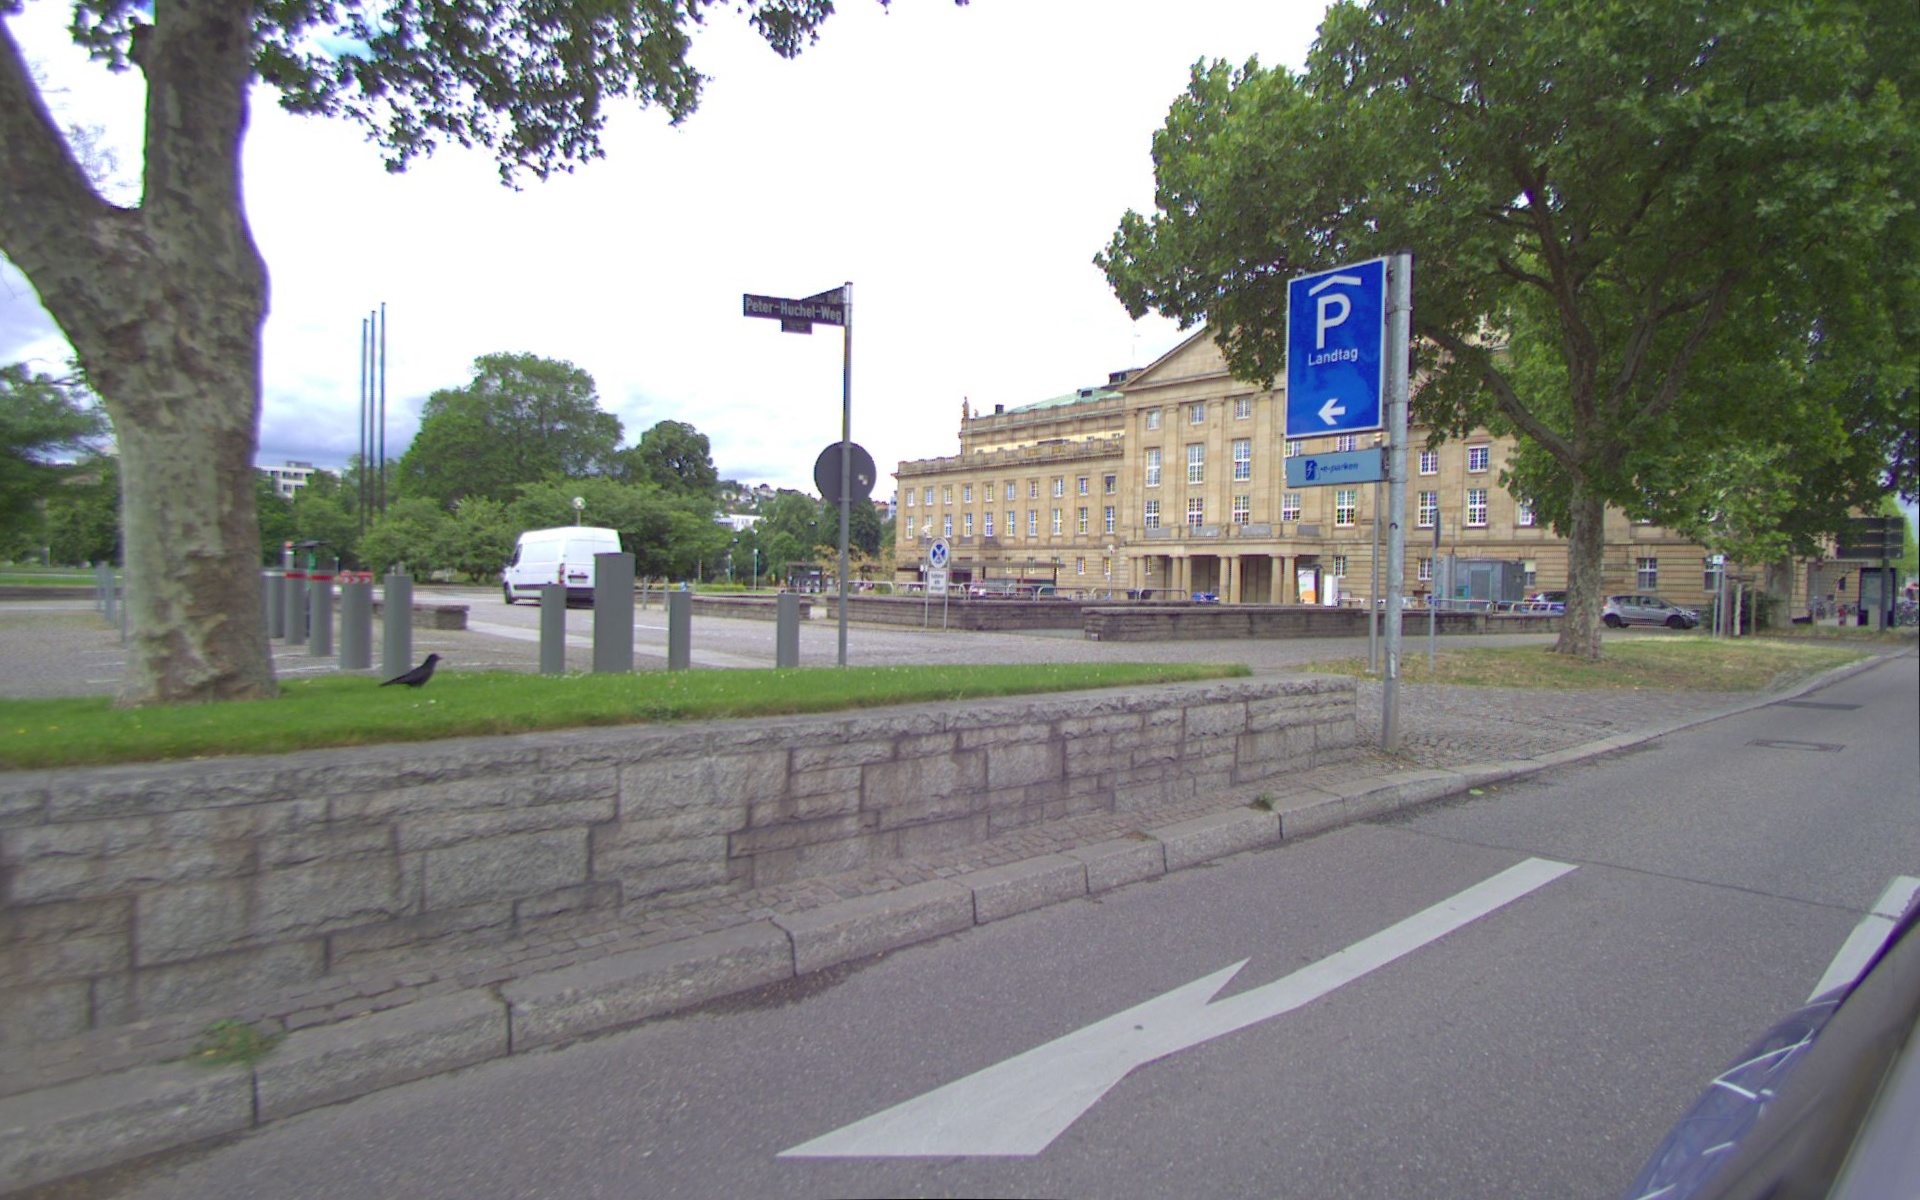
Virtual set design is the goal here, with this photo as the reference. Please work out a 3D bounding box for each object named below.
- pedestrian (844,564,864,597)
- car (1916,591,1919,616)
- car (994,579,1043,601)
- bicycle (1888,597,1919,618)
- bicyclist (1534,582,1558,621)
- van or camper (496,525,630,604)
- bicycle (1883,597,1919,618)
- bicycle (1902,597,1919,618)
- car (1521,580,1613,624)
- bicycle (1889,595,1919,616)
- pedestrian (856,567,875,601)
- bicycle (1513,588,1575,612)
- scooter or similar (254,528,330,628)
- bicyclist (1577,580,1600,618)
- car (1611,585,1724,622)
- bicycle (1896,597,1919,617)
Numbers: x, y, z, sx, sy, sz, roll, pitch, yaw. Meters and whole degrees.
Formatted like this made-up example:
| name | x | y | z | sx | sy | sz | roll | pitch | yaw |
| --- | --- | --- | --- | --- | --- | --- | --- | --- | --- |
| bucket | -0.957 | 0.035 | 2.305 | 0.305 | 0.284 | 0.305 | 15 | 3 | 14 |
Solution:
| name | x | y | z | sx | sy | sz | roll | pitch | yaw |
| --- | --- | --- | --- | --- | --- | --- | --- | --- | --- |
| pedestrian | -6.662 | -1.222 | 63.656 | 0.802 | 2.039 | 0.856 | -2 | 0 | -44 |
| car | 61.311 | 0.207 | 63.213 | 3.929 | 1.549 | 1.843 | -1 | 2 | -40 |
| car | 5.059 | -0.860 | 87.221 | 1.966 | 1.738 | 3.992 | -1 | 0 | -41 |
| bicycle | 51.565 | 0.428 | 54.846 | 1.833 | 1.085 | 0.610 | 2 | 1 | 41 |
| bicyclist | 31.033 | 0.063 | 53.592 | 1.095 | 2.039 | 1.001 | 1 | 0 | 30 |
| van or camper | -13.011 | -1.104 | 32.937 | 2.280 | 2.348 | 5.707 | -2 | 2 | -41 |
| bicycle | 50.999 | 0.404 | 54.483 | 1.911 | 1.112 | 0.533 | 2 | 1 | 41 |
| bicycle | 52.591 | 0.419 | 55.098 | 1.833 | 1.085 | 0.524 | 2 | 1 | 40 |
| car | 23.396 | 0.094 | 38.969 | 4.142 | 1.537 | 1.767 | 2 | 0 | -40 |
| bicycle | 53.888 | 0.307 | 57.213 | 1.920 | 1.147 | 0.536 | 1 | 1 | 29 |
| pedestrian | -5.876 | -1.001 | 62.888 | 0.801 | 2.039 | 0.766 | -2 | 0 | -40 |
| bicycle | 30.972 | -0.002 | 53.652 | 2.823 | 1.199 | 1.085 | 1 | 1 | 32 |
| scooter or similar | -8.708 | -0.280 | 13.186 | 0.716 | 1.262 | 0.717 | -1 | 0 | -43 |
| bicyclist | 33.815 | -0.066 | 54.485 | 0.868 | 2.039 | 0.837 | -1 | -1 | 22 |
| car | 32.800 | 0.161 | 47.001 | 1.704 | 1.616 | 3.994 | -1 | 0 | -40 |
| bicycle | 53.037 | 0.397 | 55.933 | 1.825 | 1.085 | 0.527 | 1 | 1 | 29 |
